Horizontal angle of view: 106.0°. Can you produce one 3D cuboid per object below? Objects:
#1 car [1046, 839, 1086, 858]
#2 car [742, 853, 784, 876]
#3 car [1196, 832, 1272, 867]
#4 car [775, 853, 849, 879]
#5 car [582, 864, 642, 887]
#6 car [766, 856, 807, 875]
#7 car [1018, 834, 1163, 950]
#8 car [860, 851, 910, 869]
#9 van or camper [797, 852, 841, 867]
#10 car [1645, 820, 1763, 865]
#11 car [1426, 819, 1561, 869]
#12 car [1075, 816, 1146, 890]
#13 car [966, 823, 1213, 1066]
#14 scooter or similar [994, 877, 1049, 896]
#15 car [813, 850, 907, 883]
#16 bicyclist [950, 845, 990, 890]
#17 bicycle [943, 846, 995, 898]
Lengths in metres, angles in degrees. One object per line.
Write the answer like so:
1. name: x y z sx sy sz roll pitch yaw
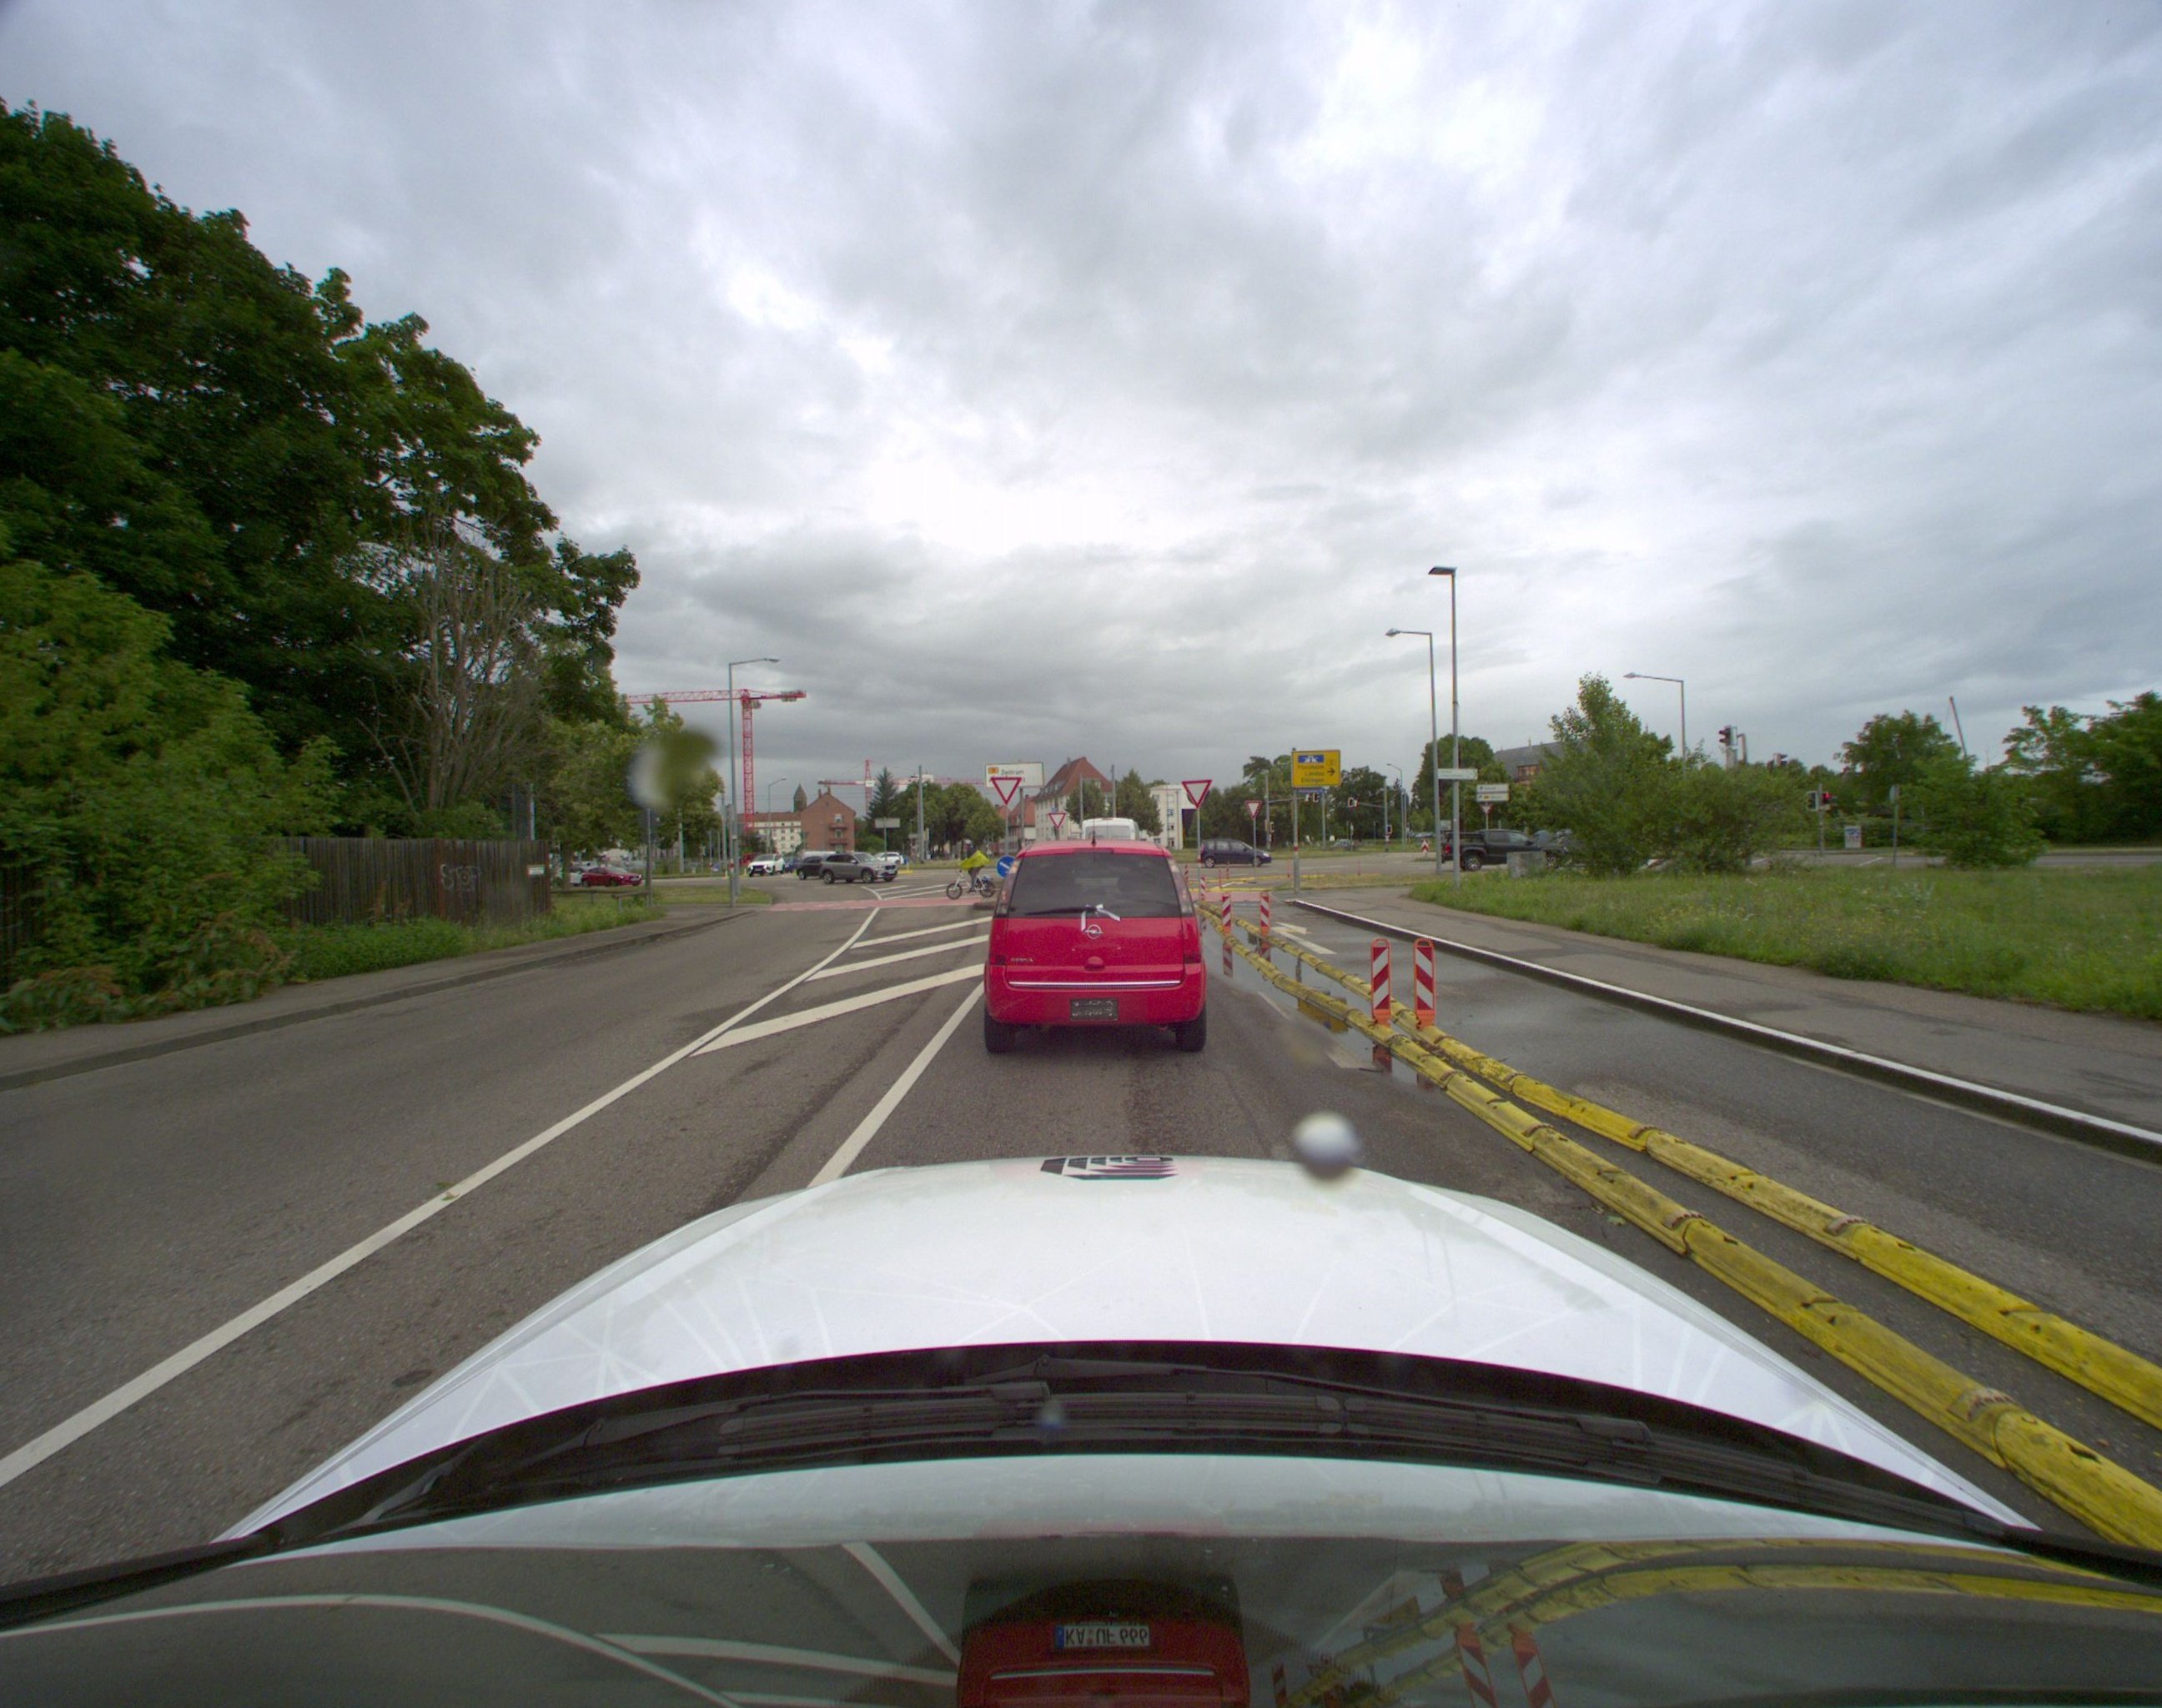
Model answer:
1. car: -1.800 -0.660 96.439 4.465 2.013 1.994 -2 0 -10
2. car: -24.668 0.787 63.375 1.928 1.684 4.180 -2 0 -6
3. car: 8.760 -0.261 46.583 4.166 1.813 2.085 -2 0 12
4. car: -16.892 0.750 51.080 4.266 1.464 2.013 -2 0 30
5. car: -31.697 1.455 54.991 4.301 1.464 2.013 -2 1 38
6. car: -25.326 0.933 70.094 1.923 1.489 4.002 -2 0 2
7. car: 0.205 0.519 13.975 2.052 1.648 4.609 -1 1 2
8. car: -19.990 0.563 83.318 1.974 1.635 4.705 -2 1 39
9. van or camper: -40.129 0.800 124.586 6.136 2.013 2.007 -2 0 12
10. car: 27.872 -0.493 36.503 2.012 1.848 3.950 -2 1 -44
11. car: 18.072 -0.435 35.944 4.985 1.972 2.234 -2 0 18
12. car: 1.217 -0.063 30.774 2.183 2.540 4.973 0 0 7
13. car: 0.112 0.598 7.353 1.667 1.640 3.629 -1 0 2
14. scooter or similar: -1.879 1.032 25.943 1.600 0.504 0.926 -2 0 4
15. car: -11.687 0.647 43.053 4.476 1.583 2.012 -2 0 25
16. bicyclist: -3.549 0.417 26.055 1.053 1.401 0.618 -2 0 18
17. bicycle: -3.587 0.567 26.067 1.465 1.612 0.609 -2 0 17
